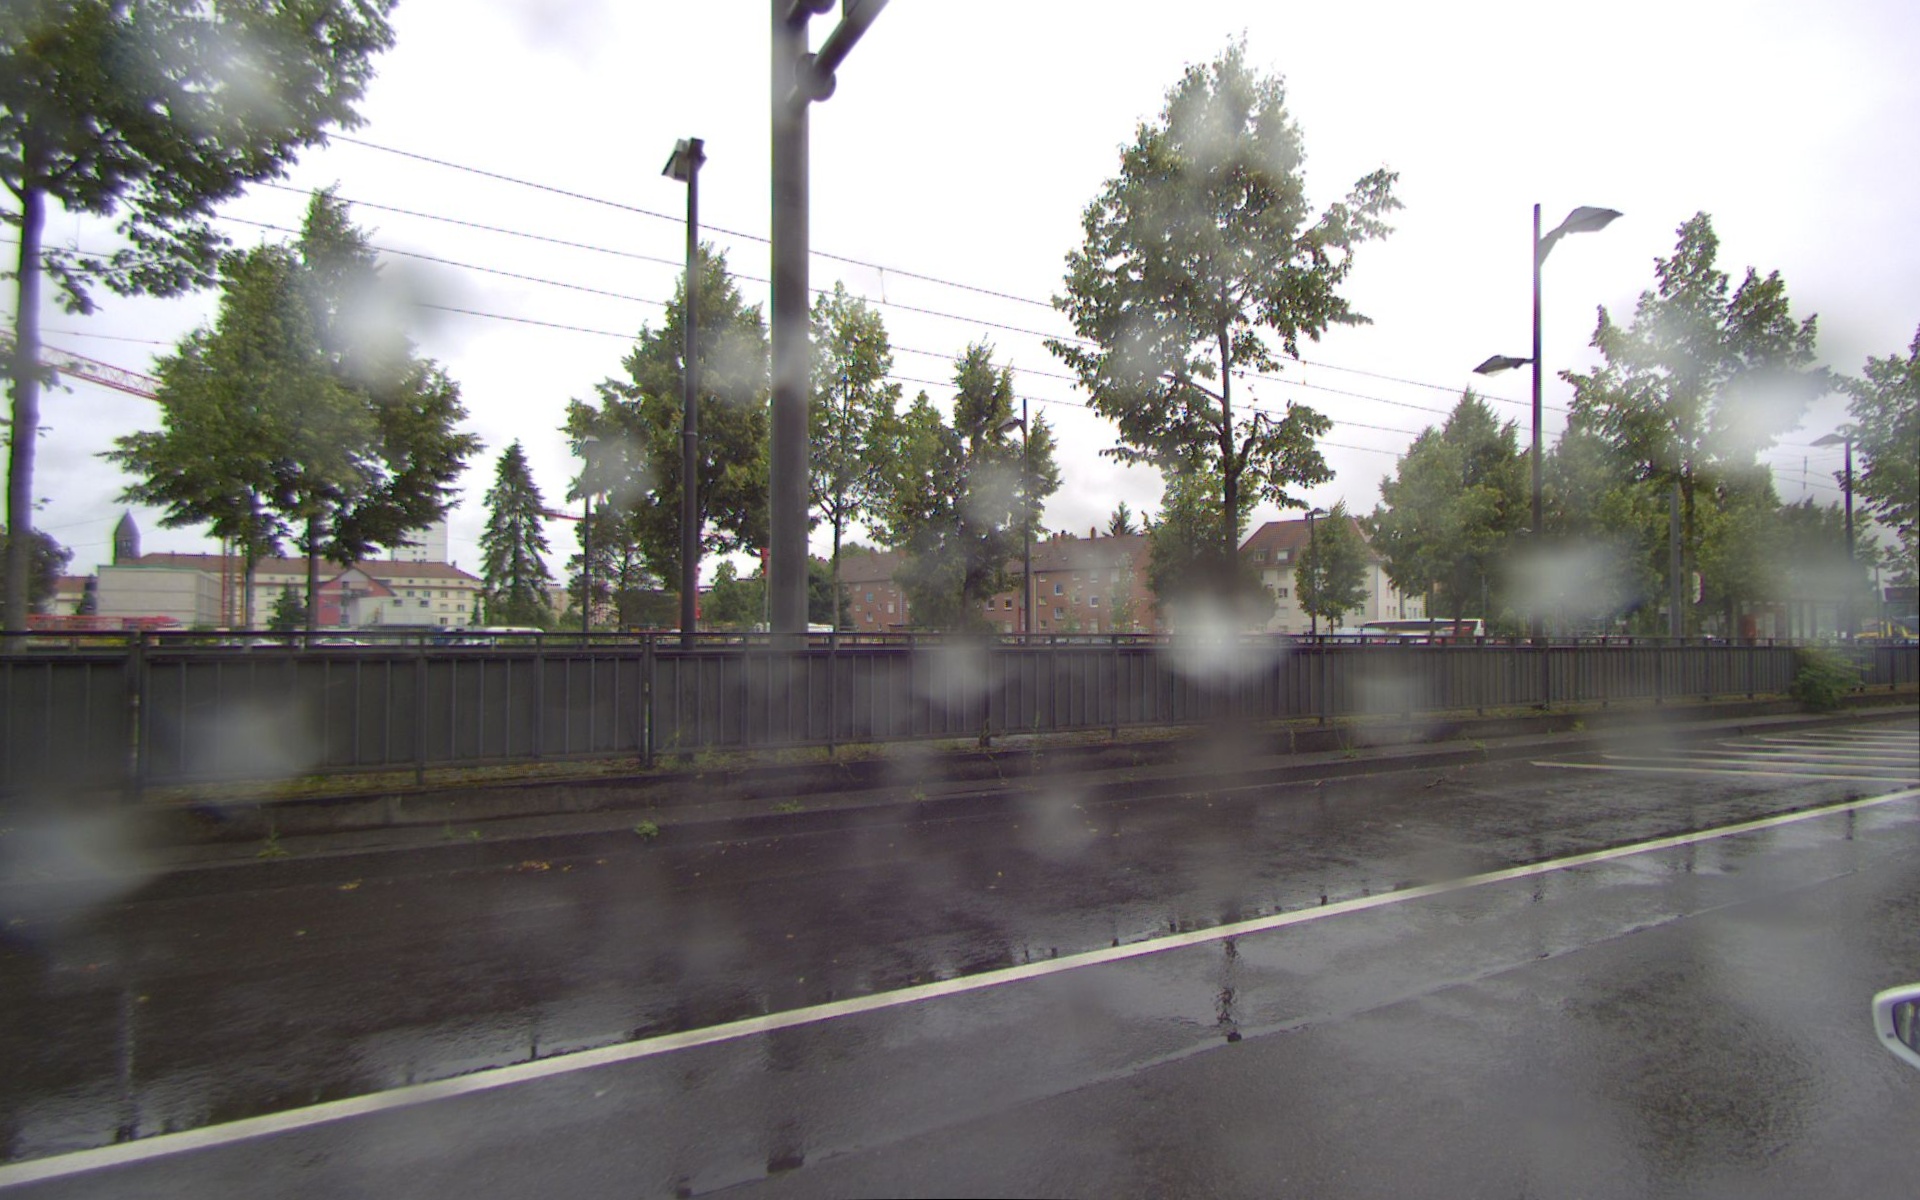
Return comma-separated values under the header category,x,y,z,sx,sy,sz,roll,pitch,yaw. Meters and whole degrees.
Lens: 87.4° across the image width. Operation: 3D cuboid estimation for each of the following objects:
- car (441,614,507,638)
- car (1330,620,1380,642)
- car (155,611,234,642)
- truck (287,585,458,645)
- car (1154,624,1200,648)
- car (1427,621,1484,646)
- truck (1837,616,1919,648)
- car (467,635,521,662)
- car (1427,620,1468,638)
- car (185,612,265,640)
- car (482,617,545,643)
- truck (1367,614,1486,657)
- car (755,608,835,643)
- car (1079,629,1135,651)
category,x,y,z,sx,sy,sz,roll,pitch,yaw
car,-46.647,2.484,96.418,5.460,2.040,1.981,-1,-1,-35
car,38.492,3.009,97.886,4.144,2.040,1.994,1,-2,-15
car,-49.426,1.698,64.857,3.968,1.840,1.809,-1,-2,-41
truck,-57.934,1.441,99.501,6.108,5.467,13.251,-3,-2,39
car,20.472,3.378,94.868,3.953,2.040,1.984,-1,-1,-31
car,41.465,2.819,84.025,3.933,2.040,1.994,1,-2,-15
truck,99.443,3.323,103.292,14.606,3.188,3.525,0,-2,5
car,-39.184,4.043,84.511,3.953,2.040,1.984,-1,-1,-31
car,50.755,3.057,104.579,3.487,1.761,1.700,-3,-2,37
car,-45.313,1.590,62.008,3.768,1.539,1.732,-1,-1,-31
car,-33.893,2.262,76.282,3.968,1.840,1.809,-1,-2,-41
truck,55.267,4.262,119.250,12.293,4.653,3.390,-3,-1,37
car,-11.946,1.840,72.862,5.435,2.357,1.829,-1,-1,-31
car,14.822,4.038,101.424,5.295,2.040,2.082,-2,-1,-23
